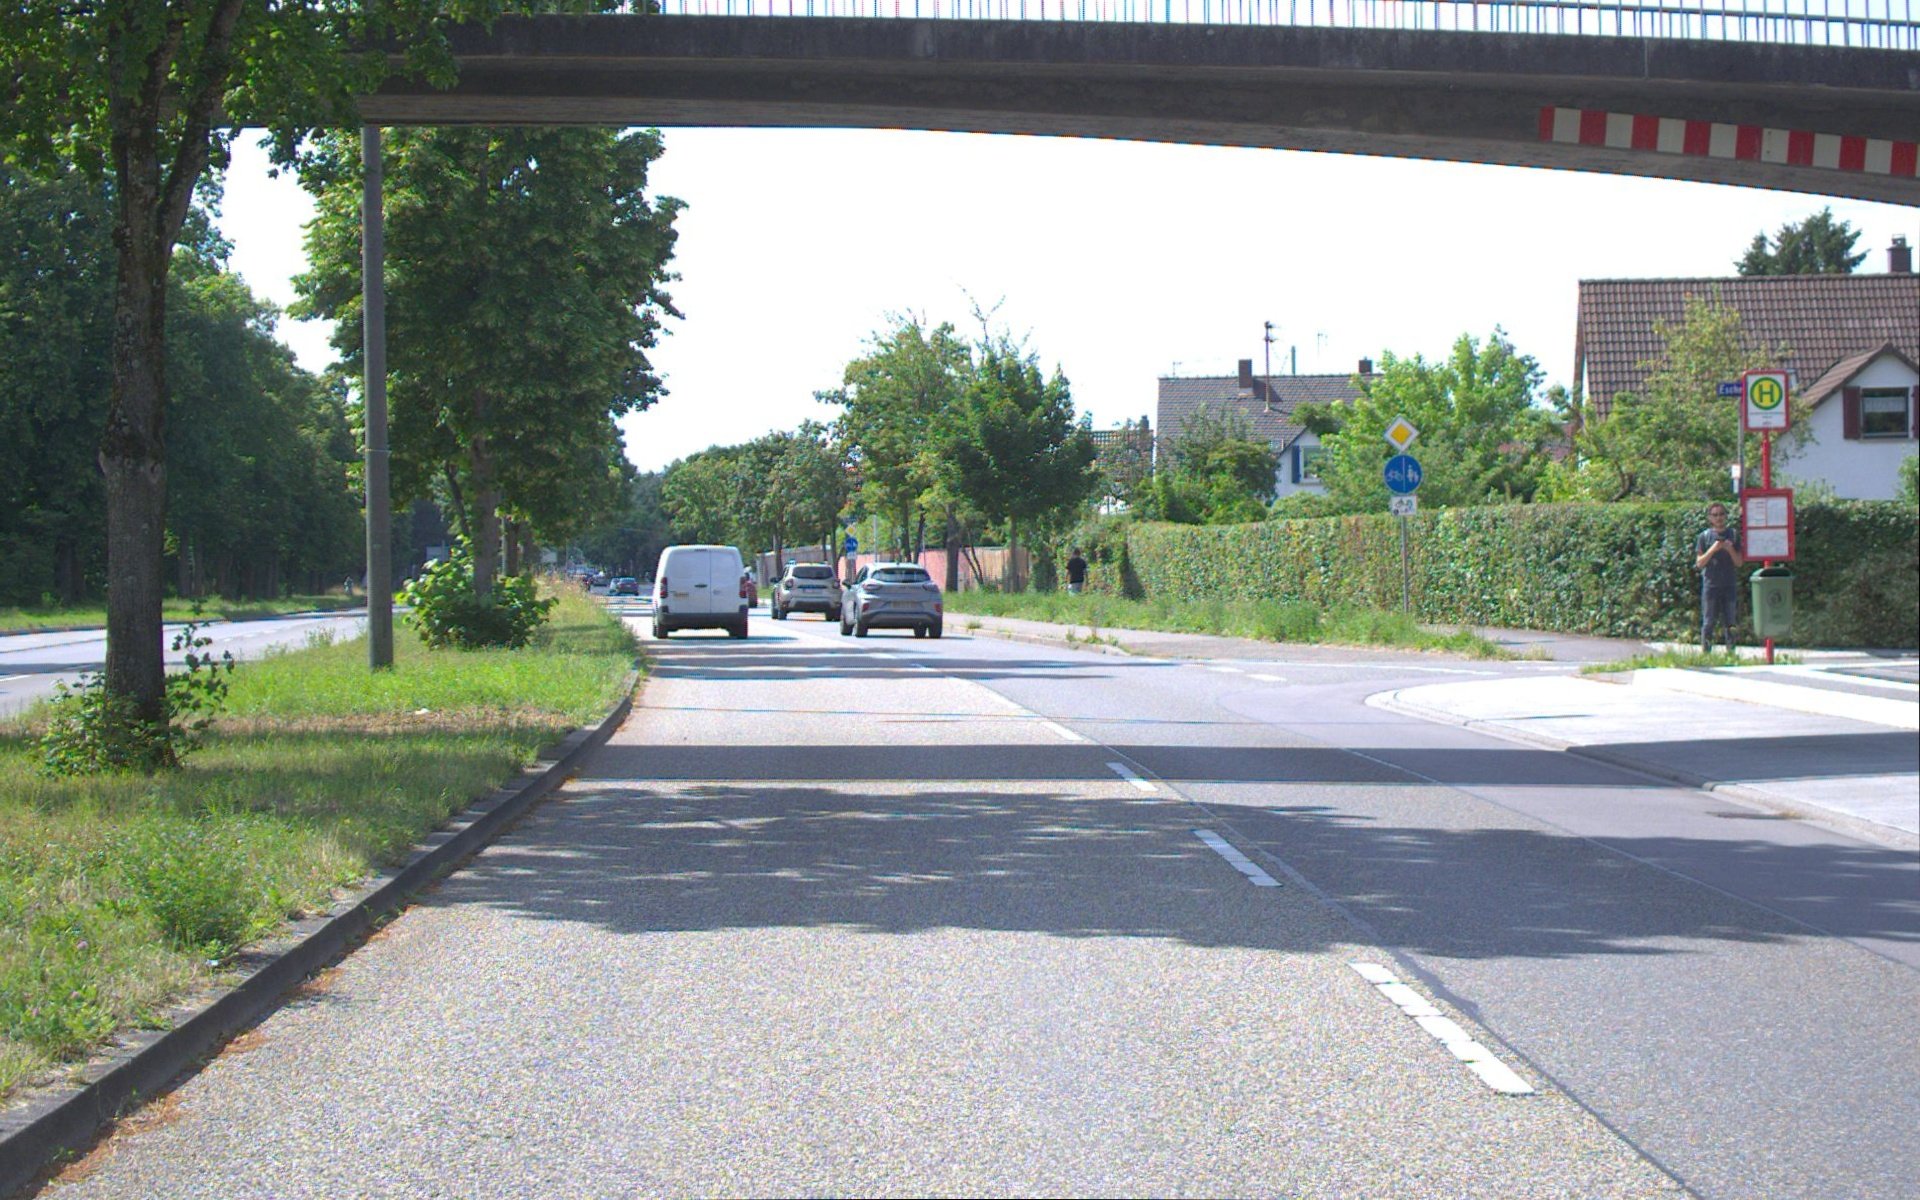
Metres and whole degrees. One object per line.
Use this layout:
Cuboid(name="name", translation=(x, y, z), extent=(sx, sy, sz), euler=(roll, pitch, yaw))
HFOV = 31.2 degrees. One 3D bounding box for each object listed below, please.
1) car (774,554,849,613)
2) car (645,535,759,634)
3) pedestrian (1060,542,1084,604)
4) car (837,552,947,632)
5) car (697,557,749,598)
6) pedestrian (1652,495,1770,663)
Cuboid(name="car", translation=(-4.260, -0.468, 98.219), extent=(1.875, 1.647, 4.001), euler=(0, 0, -6))
Cuboid(name="car", translation=(-5.185, -0.326, 68.552), extent=(2.065, 1.905, 4.647), euler=(0, 1, -7))
Cuboid(name="pedestrian", translation=(3.066, -0.739, 94.019), extent=(0.560, 1.671, 0.634), euler=(0, 0, -7))
Cuboid(name="car", translation=(-1.429, -0.162, 70.625), extent=(1.875, 1.583, 4.185), euler=(0, 0, -6))
Cuboid(name="car", translation=(-9.437, -0.889, 136.572), extent=(1.880, 1.582, 4.001), euler=(0, 1, -7))
Cuboid(name="pedestrian", translation=(8.486, -0.226, 38.896), extent=(0.954, 1.818, 1.088), euler=(-2, -2, -4))
